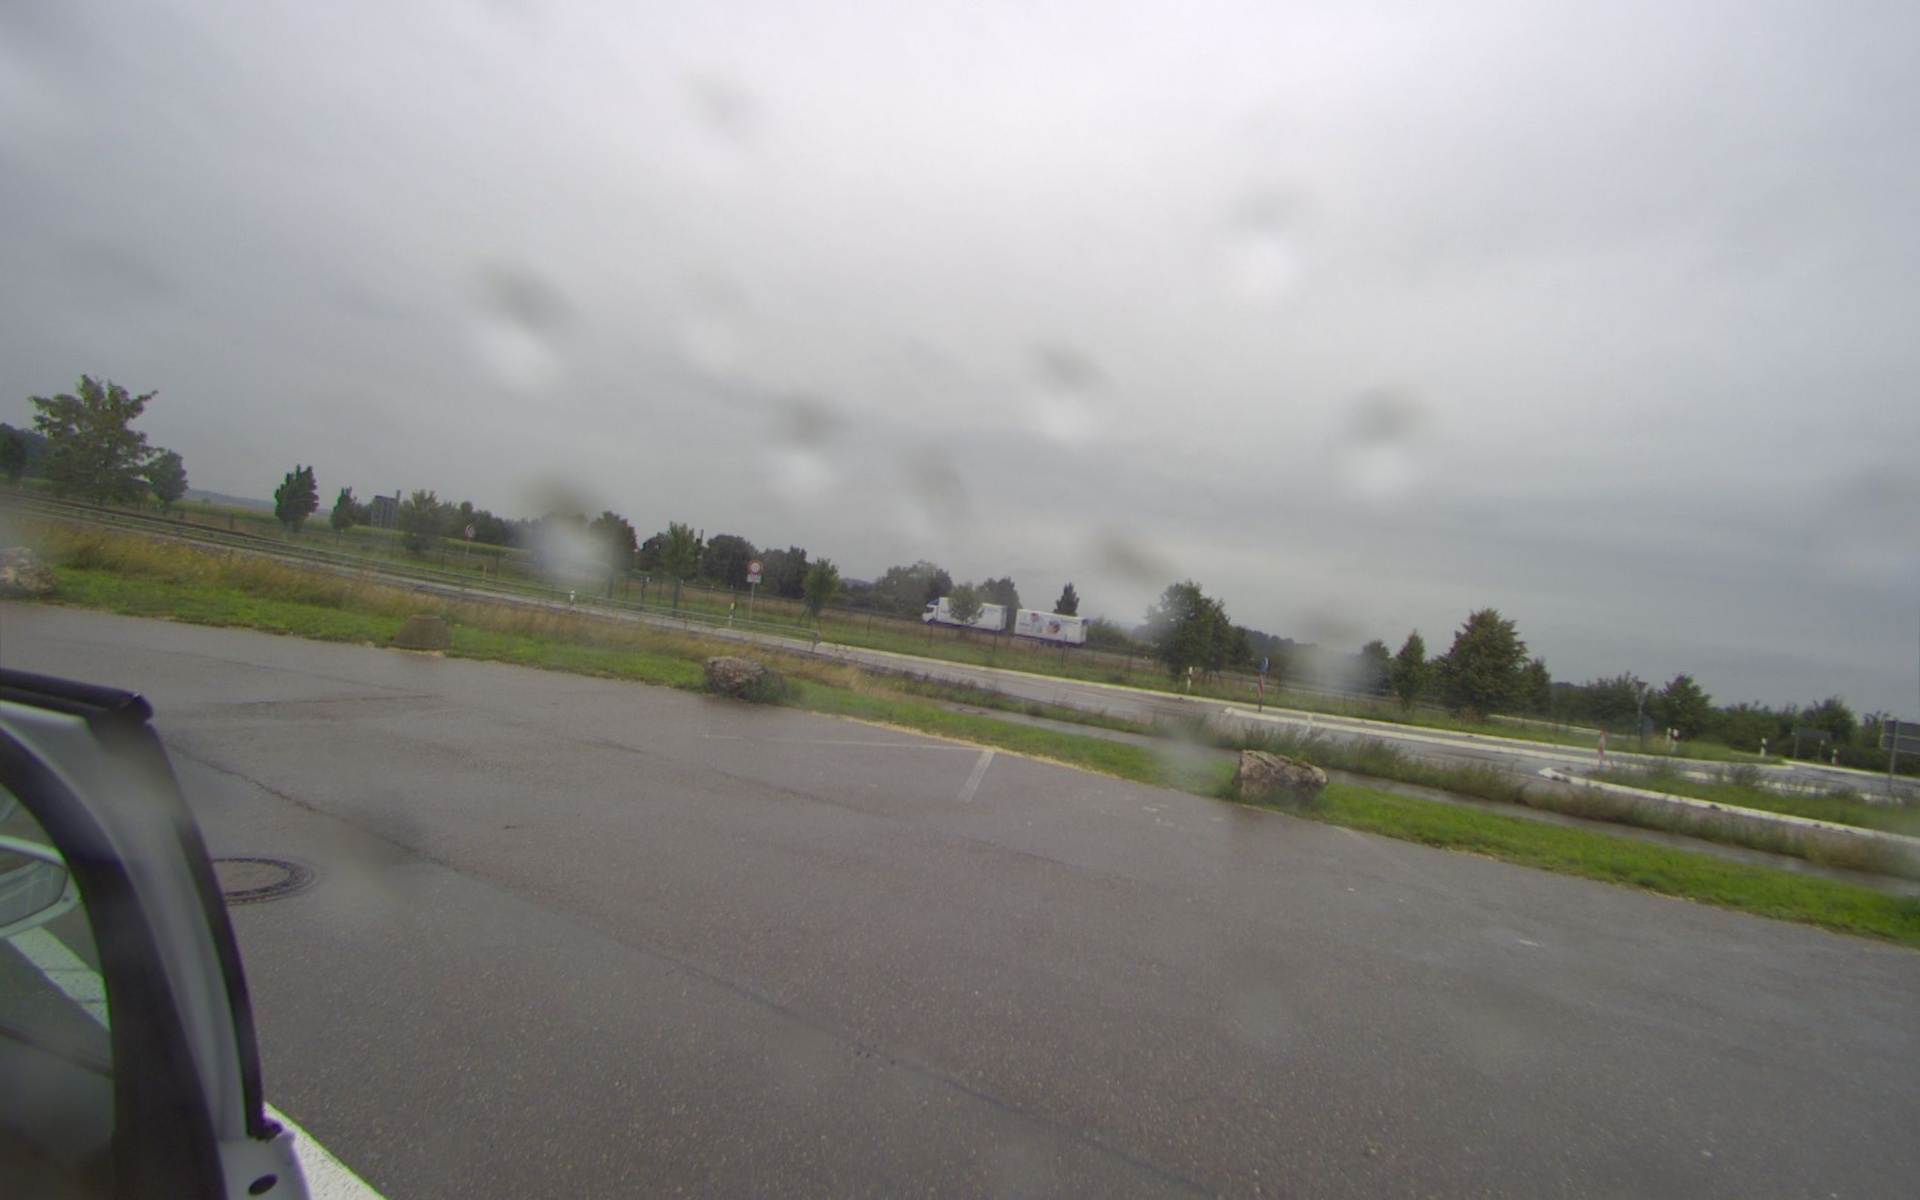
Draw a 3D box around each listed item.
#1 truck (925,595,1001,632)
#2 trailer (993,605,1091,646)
[{"bbox_3d":[0.315,1.477,110.098,7.644,2.942,2.186,8,-1,16],"label":"truck"},{"bbox_3d":[8.718,2.665,107.277,9.955,2.936,2.208,8,-1,21],"label":"trailer"}]
